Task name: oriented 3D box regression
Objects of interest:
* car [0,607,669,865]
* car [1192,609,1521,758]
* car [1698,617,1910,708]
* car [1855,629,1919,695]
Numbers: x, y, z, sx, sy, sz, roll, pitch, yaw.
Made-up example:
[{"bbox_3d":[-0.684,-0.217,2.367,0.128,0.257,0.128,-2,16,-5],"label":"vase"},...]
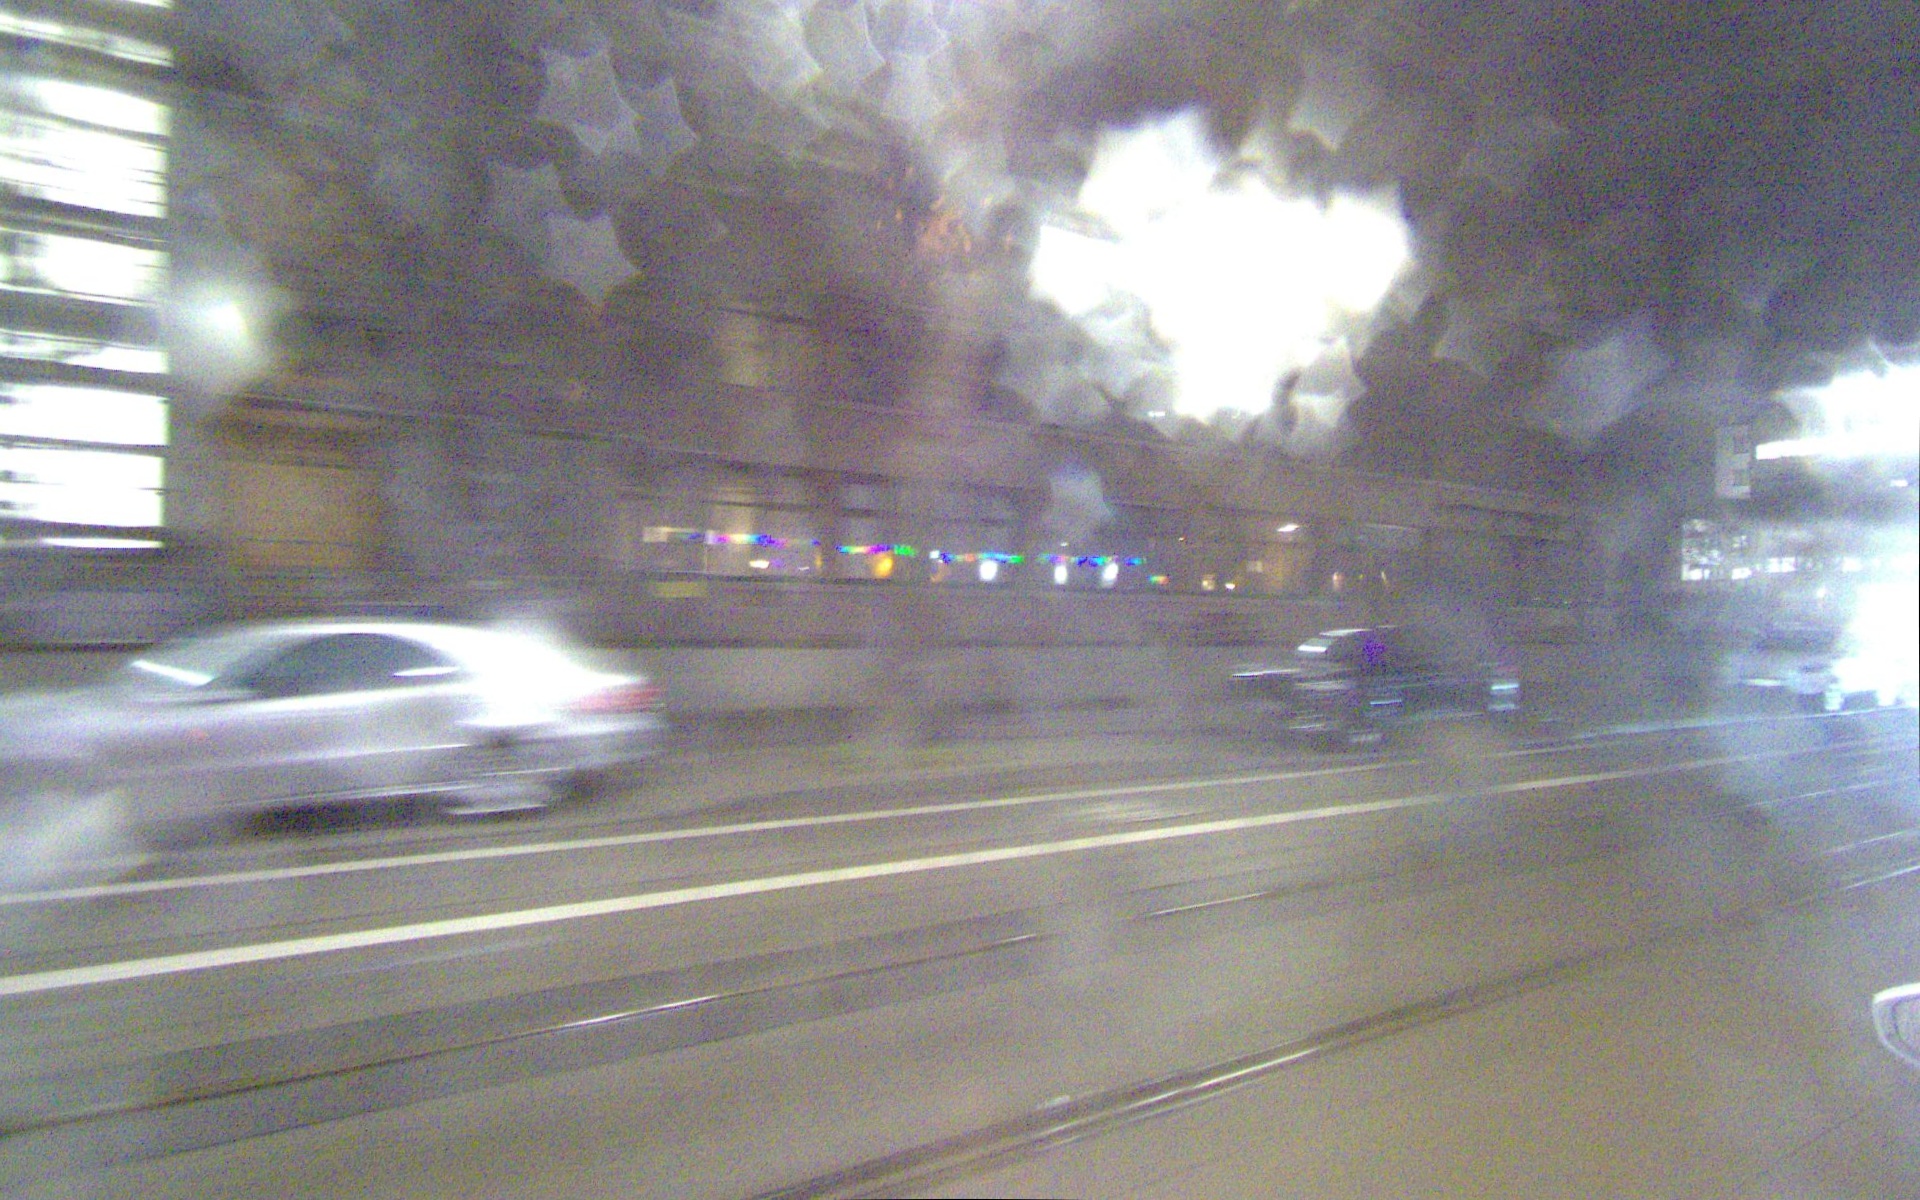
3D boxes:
[{"bbox_3d":[-4.869,0.825,7.382,4.911,1.482,1.875,2,-2,-35],"label":"car"},{"bbox_3d":[5.331,1.010,13.342,4.353,1.566,1.868,2,2,-34],"label":"car"},{"bbox_3d":[17.194,1.219,20.433,4.465,1.653,1.973,2,-1,-31],"label":"car"},{"bbox_3d":[22.954,1.435,23.814,3.873,1.440,1.680,1,-1,-34],"label":"car"}]
